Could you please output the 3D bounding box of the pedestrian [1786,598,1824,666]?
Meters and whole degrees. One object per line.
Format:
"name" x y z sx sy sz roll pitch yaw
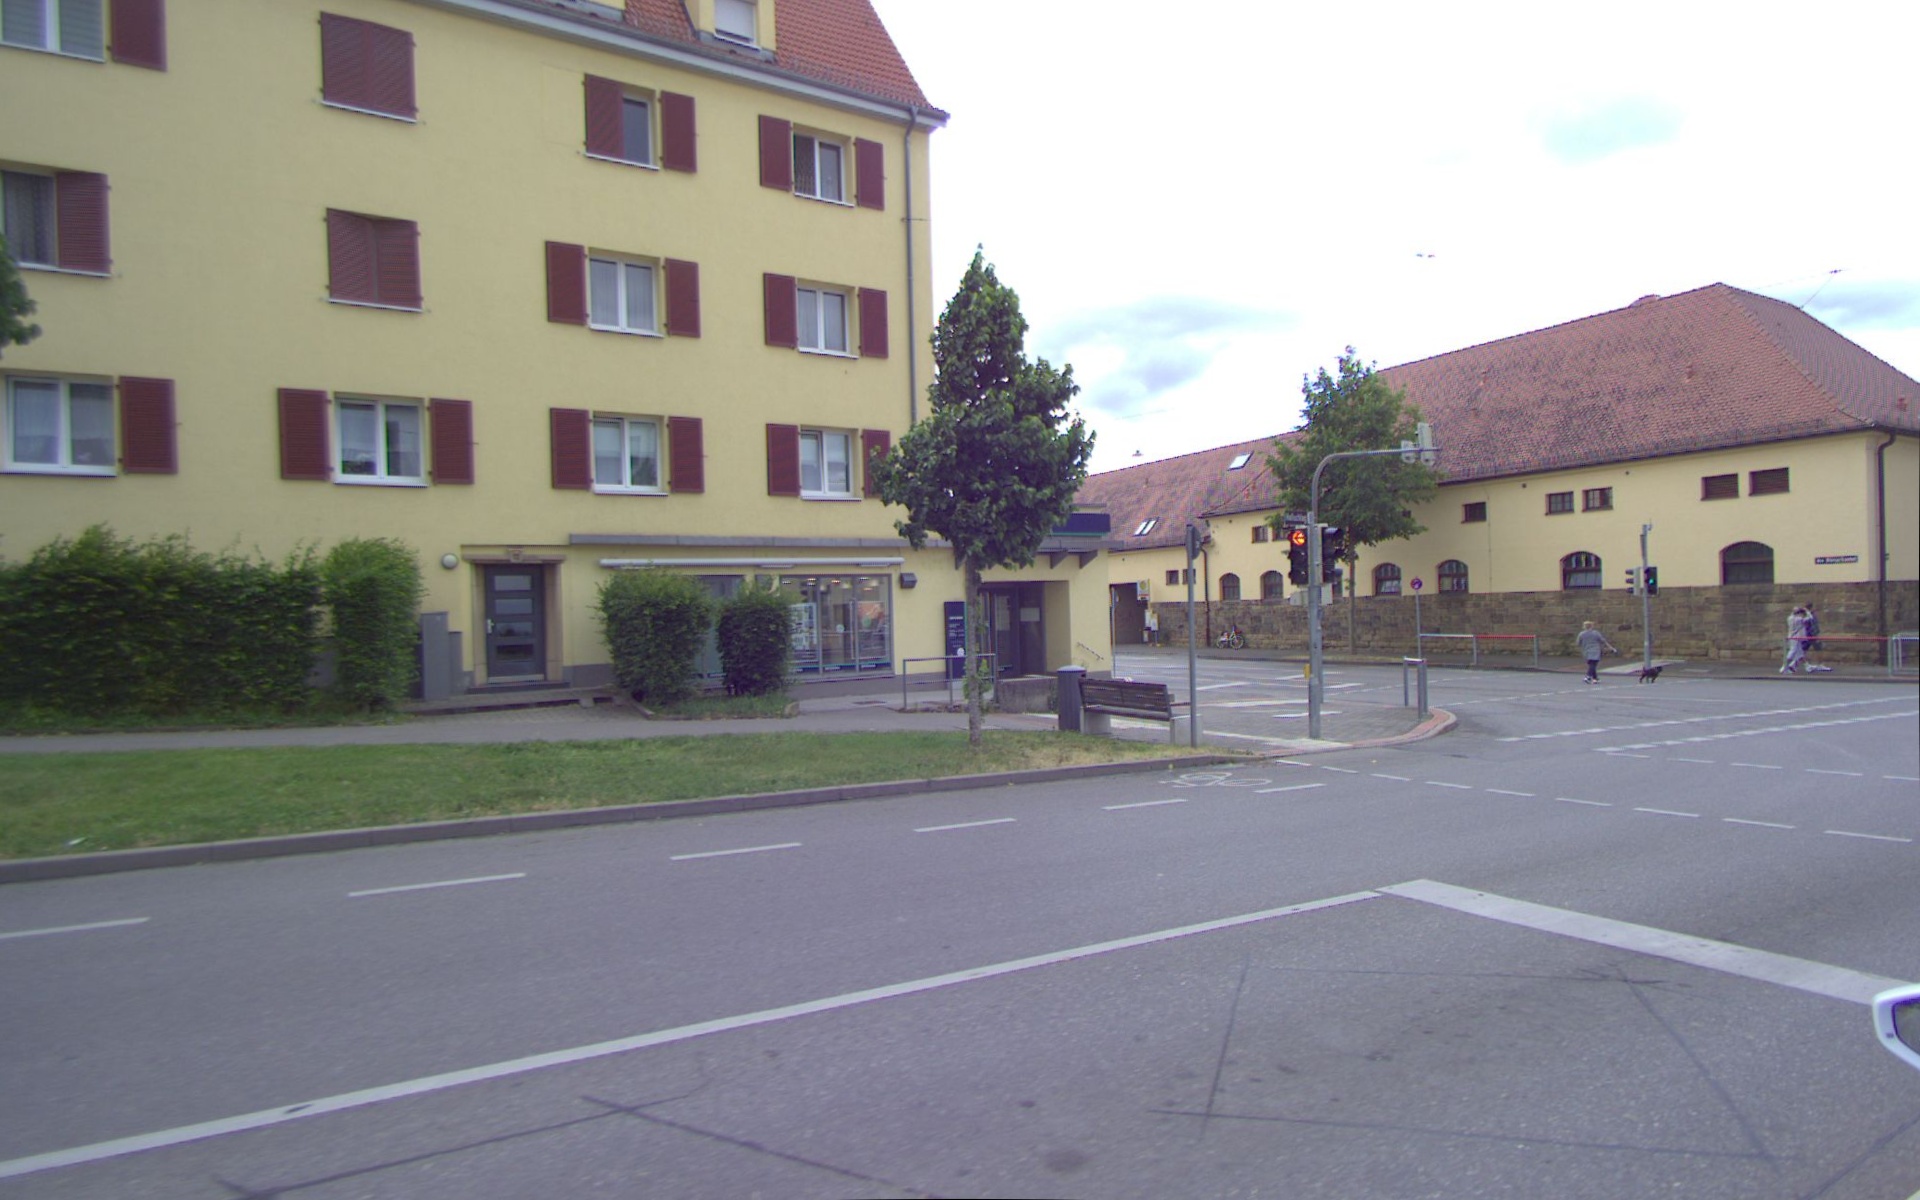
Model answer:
"pedestrian" 22.870 0.862 27.184 0.832 1.800 0.561 0 0 -31

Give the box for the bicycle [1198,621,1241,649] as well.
"bicycle" 12.463 1.669 48.374 0.509 1.283 2.303 0 -1 -32

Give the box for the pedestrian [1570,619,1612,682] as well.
"pedestrian" 16.323 1.293 25.998 0.831 1.587 0.562 0 0 -25

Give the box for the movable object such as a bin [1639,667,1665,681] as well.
"movable object such as a bin" 17.904 1.911 25.978 0.573 0.352 0.305 0 -1 -25

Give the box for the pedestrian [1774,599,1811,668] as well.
"pedestrian" 22.174 0.892 26.758 0.709 1.800 0.561 0 0 -31
